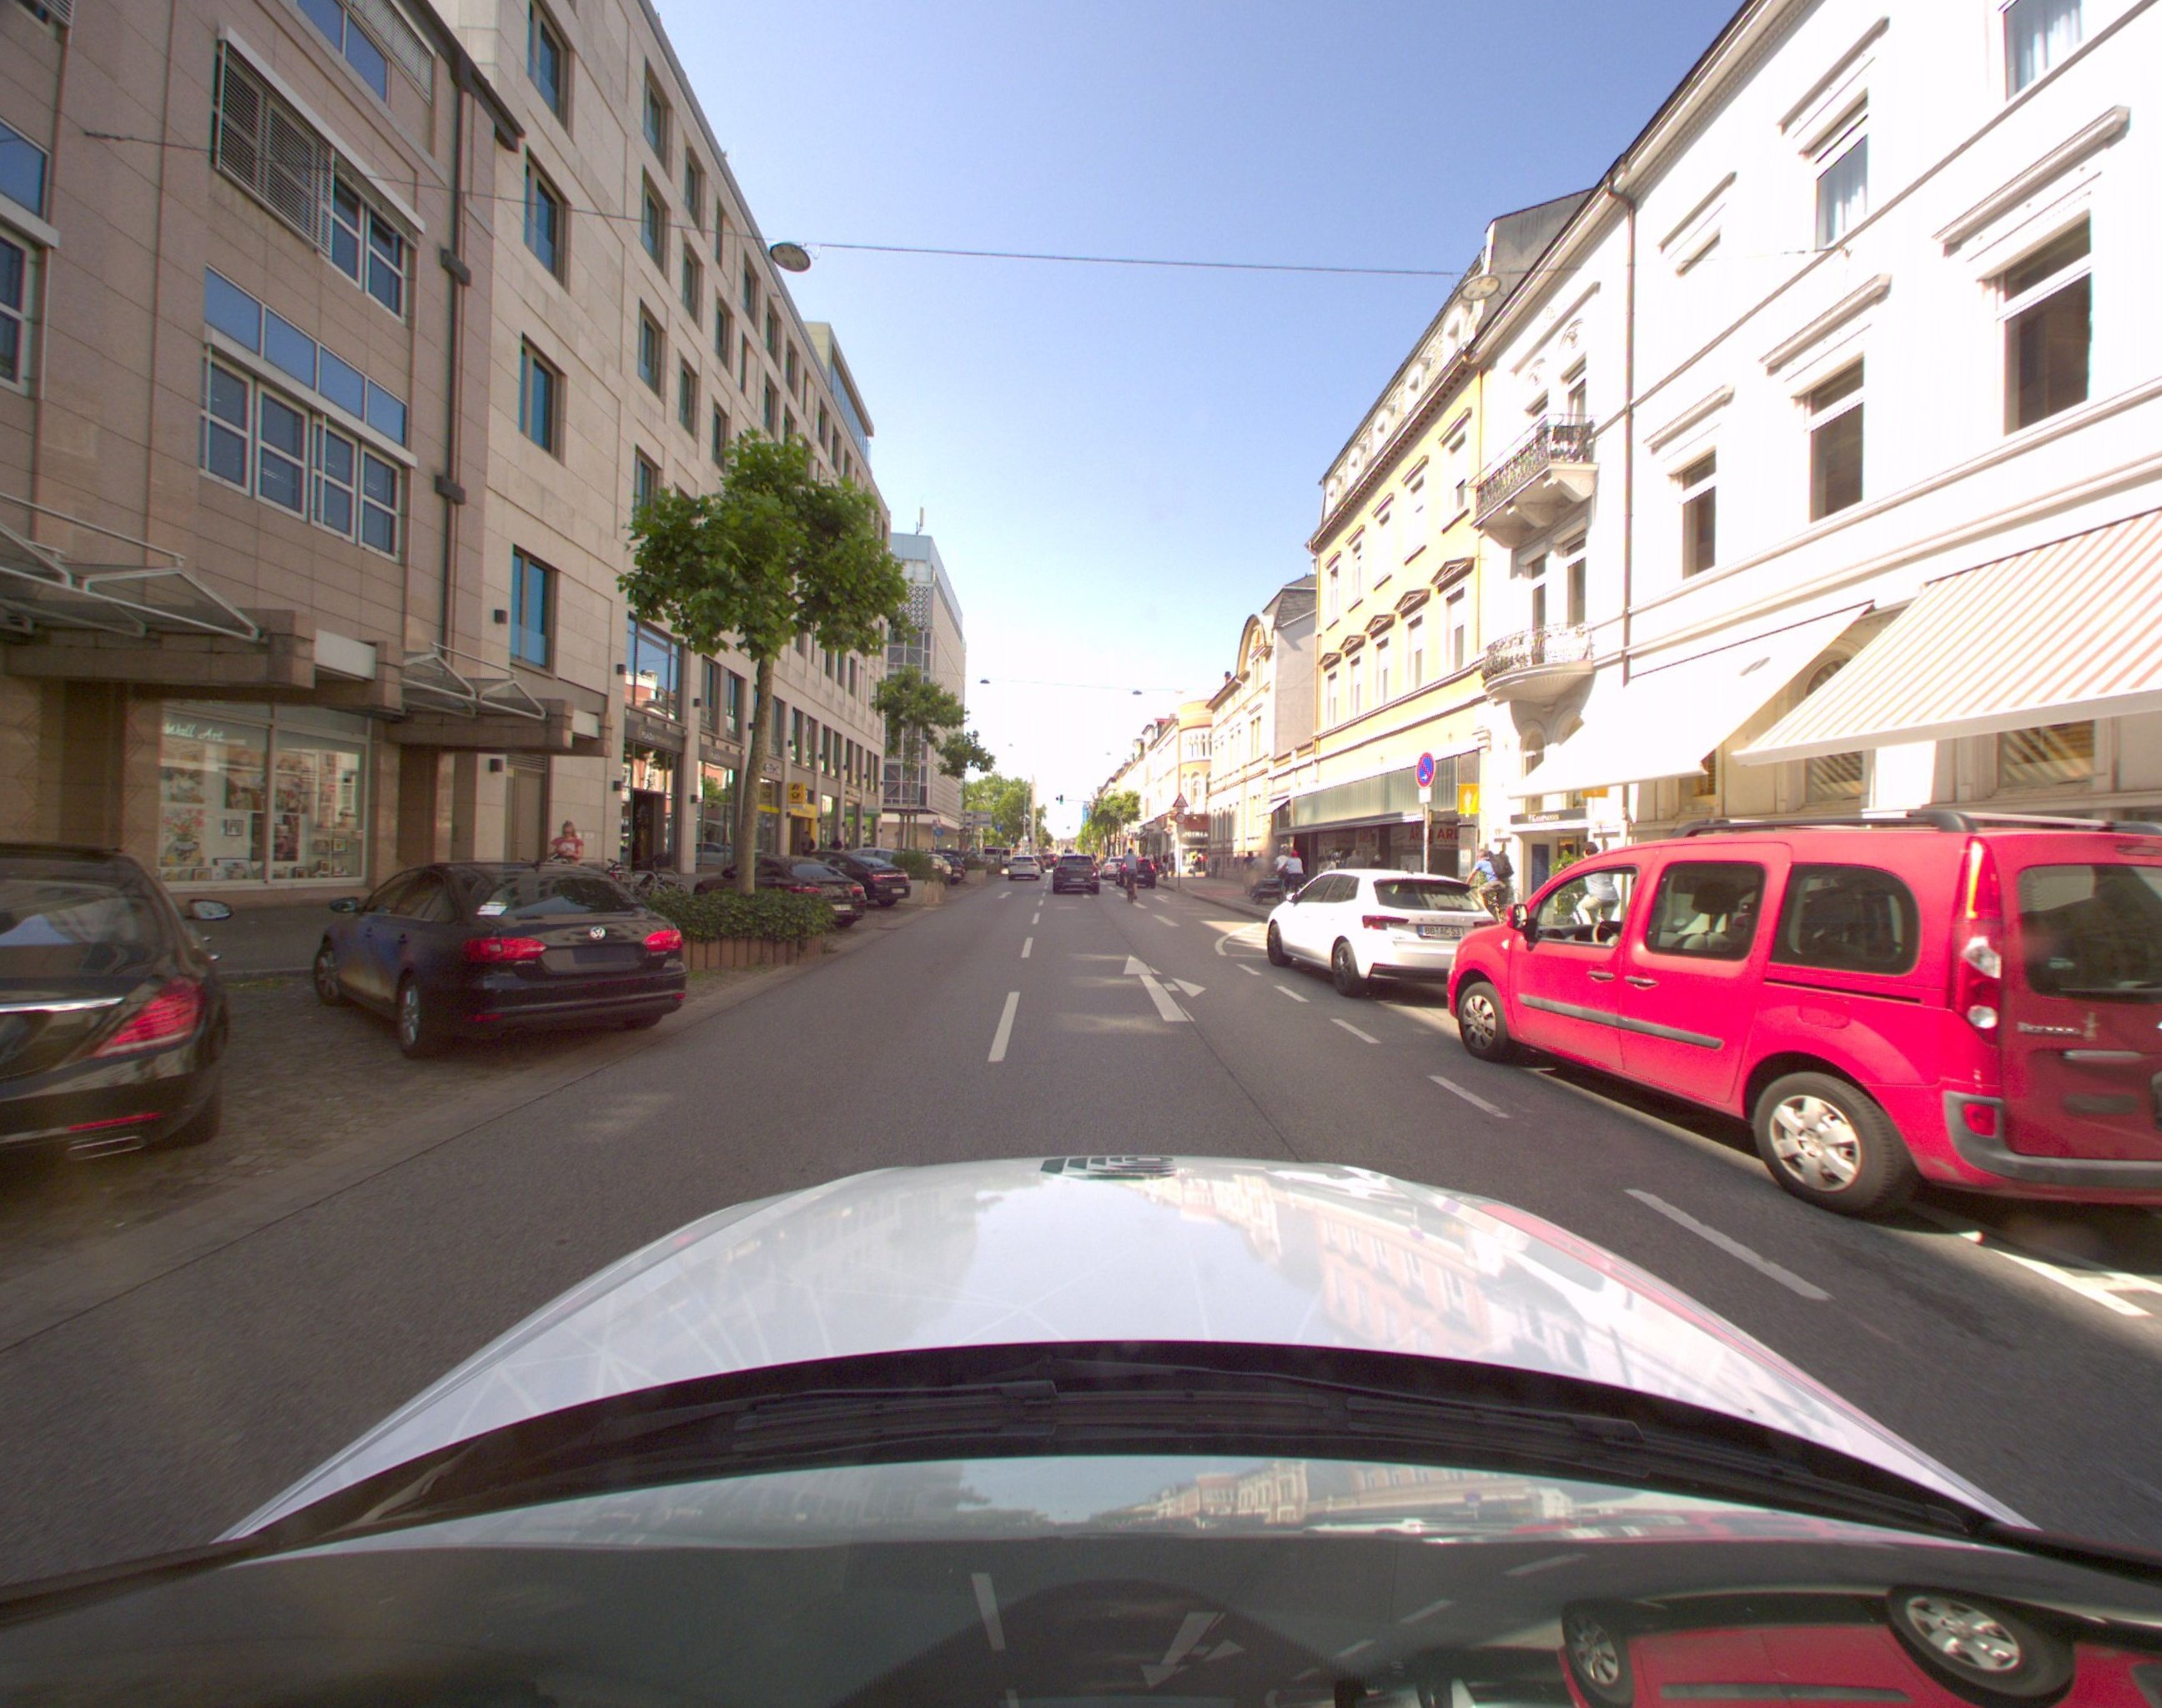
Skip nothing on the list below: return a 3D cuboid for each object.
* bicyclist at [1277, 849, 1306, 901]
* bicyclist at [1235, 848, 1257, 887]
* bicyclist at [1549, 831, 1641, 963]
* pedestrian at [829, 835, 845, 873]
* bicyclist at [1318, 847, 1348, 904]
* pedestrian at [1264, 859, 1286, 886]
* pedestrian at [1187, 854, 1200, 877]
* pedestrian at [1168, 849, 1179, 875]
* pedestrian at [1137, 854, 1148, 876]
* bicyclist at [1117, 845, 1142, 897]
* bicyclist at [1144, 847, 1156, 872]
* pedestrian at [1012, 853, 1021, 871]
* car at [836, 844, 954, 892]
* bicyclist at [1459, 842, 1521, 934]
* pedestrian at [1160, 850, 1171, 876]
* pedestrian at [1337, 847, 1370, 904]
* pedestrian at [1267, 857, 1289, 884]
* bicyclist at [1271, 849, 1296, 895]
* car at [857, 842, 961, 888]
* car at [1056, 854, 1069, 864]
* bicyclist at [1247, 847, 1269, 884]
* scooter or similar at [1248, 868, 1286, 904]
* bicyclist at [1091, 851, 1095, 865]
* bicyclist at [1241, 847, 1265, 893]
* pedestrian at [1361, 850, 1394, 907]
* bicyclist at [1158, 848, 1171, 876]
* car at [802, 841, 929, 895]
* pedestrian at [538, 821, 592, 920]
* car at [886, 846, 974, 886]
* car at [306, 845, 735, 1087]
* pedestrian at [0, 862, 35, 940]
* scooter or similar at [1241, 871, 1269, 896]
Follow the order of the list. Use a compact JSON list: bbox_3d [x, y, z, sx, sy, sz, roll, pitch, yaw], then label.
[{"bbox_3d":[6.111,0.608,23.668,0.623,1.476,0.889,1,0,0],"label":"bicyclist"},{"bbox_3d":[6.830,0.538,33.758,0.707,1.595,0.963,1,0,0],"label":"bicyclist"},{"bbox_3d":[7.211,0.578,11.466,0.645,1.769,1.013,1,0,-1],"label":"bicyclist"},{"bbox_3d":[-12.776,-0.002,42.648,0.622,2.013,0.700,0,0,-1],"label":"pedestrian"},{"bbox_3d":[7.210,0.594,23.337,0.580,1.595,0.920,1,0,0],"label":"bicyclist"},{"bbox_3d":[9.536,0.916,40.075,0.932,1.269,0.568,-1,0,4],"label":"pedestrian"},{"bbox_3d":[8.513,0.832,61.569,0.790,1.720,0.728,0,0,-7],"label":"pedestrian"},{"bbox_3d":[6.471,0.578,57.089,0.650,1.809,0.729,0,0,0],"label":"pedestrian"},{"bbox_3d":[4.958,0.883,65.423,0.721,1.809,0.657,1,-1,15],"label":"pedestrian"},{"bbox_3d":[1.629,0.562,27.278,0.692,1.673,0.915,3,1,-1],"label":"bicyclist"},{"bbox_3d":[4.856,0.365,57.140,0.692,1.673,0.835,3,1,-1],"label":"bicyclist"},{"bbox_3d":[-6.030,0.761,75.996,0.616,1.615,0.545,2,-2,-32],"label":"pedestrian"},{"bbox_3d":[-7.208,0.521,31.678,3.958,1.490,1.790,5,0,15],"label":"car"},{"bbox_3d":[7.714,0.625,15.386,0.645,1.684,1.013,1,0,-1],"label":"bicyclist"},{"bbox_3d":[6.256,0.683,60.298,0.706,1.899,1.153,1,-1,2],"label":"pedestrian"},{"bbox_3d":[8.459,0.660,25.313,0.872,1.718,0.838,0,-1,10],"label":"pedestrian"},{"bbox_3d":[9.495,0.778,39.279,0.932,1.269,0.568,-1,0,4],"label":"pedestrian"},{"bbox_3d":[7.143,0.632,28.794,0.656,1.595,0.920,1,-1,0],"label":"bicyclist"},{"bbox_3d":[-7.431,0.472,35.198,3.953,1.568,1.709,6,0,23],"label":"car"},{"bbox_3d":[-2.813,0.723,121.166,1.858,1.441,3.996,1,0,-2],"label":"car"},{"bbox_3d":[6.086,0.394,27.963,0.621,1.248,0.607,1,0,0],"label":"bicyclist"},{"bbox_3d":[6.089,1.033,26.704,0.868,1.122,1.620,0,0,0],"label":"scooter or similar"},{"bbox_3d":[1.434,0.462,94.094,0.418,1.630,0.709,1,0,0],"label":"bicyclist"},{"bbox_3d":[6.085,0.561,28.833,0.630,1.595,0.920,1,-1,0],"label":"bicyclist"},{"bbox_3d":[8.971,0.718,24.653,0.645,1.684,0.944,1,0,-1],"label":"pedestrian"},{"bbox_3d":[4.982,0.488,48.565,0.692,1.674,0.835,1,-3,-1],"label":"bicyclist"},{"bbox_3d":[-7.535,0.483,28.800,3.982,1.500,1.714,5,-1,-6],"label":"car"},{"bbox_3d":[-8.840,0.275,13.966,0.566,1.657,0.634,1,0,-11],"label":"pedestrian"},{"bbox_3d":[-7.176,0.553,38.478,3.950,1.459,1.680,6,0,35],"label":"car"},{"bbox_3d":[-5.370,0.735,7.529,4.736,1.422,1.895,3,1,38],"label":"car"},{"bbox_3d":[-11.919,0.494,8.630,0.564,0.809,0.774,6,0,-2],"label":"pedestrian"},{"bbox_3d":[6.858,1.143,32.081,0.850,0.919,1.164,1,0,0],"label":"scooter or similar"}]
